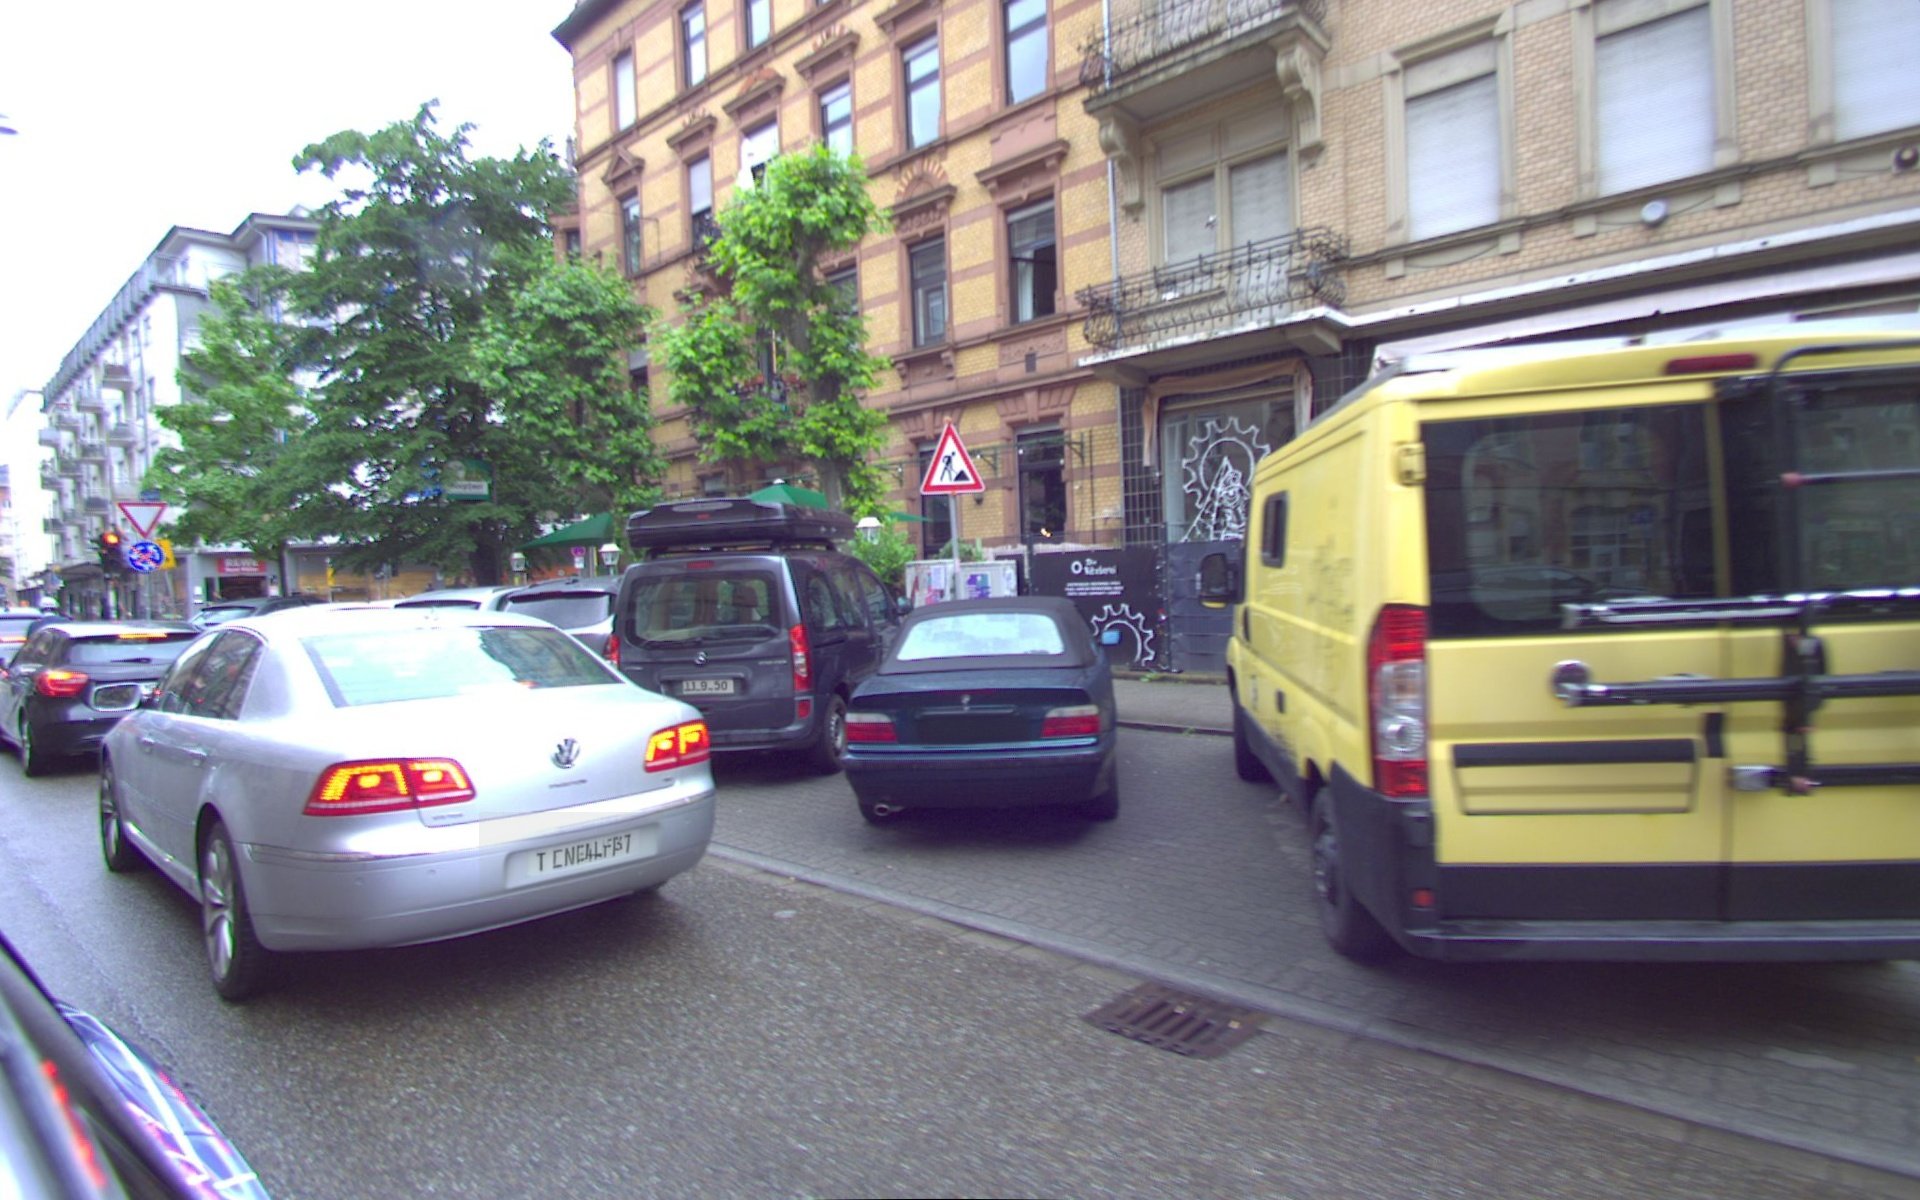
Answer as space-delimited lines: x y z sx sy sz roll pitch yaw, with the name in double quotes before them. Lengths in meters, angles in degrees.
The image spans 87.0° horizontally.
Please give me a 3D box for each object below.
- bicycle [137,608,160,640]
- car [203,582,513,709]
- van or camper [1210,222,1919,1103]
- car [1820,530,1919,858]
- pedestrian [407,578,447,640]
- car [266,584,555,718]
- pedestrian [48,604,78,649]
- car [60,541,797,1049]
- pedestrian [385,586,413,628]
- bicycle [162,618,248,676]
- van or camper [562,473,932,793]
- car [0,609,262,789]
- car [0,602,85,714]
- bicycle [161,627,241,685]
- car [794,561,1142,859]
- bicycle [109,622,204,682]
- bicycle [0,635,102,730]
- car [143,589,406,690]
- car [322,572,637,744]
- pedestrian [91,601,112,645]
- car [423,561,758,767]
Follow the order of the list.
"bicycle" -37.381 1.107 46.599 2.024 1.383 0.444 -2 4 44
"car" -9.929 0.644 17.267 1.977 1.574 4.716 -4 3 8
"van or camper" 2.617 0.067 4.976 2.160 2.284 4.715 -4 3 9
"car" 5.101 0.443 3.176 1.942 1.506 3.906 -2 1 11
"pedestrian" -17.953 0.296 34.095 0.929 2.028 0.866 -3 1 -13
"car" -8.075 0.651 15.393 1.779 1.504 4.132 -2 4 6
"pedestrian" -38.423 1.111 43.355 0.850 1.862 0.770 -3 1 -40
"car" -3.029 0.635 5.185 4.581 1.505 1.777 -3 0 41
"pedestrian" -22.717 0.266 40.994 0.786 1.627 0.606 -3 2 -13
"bicycle" -16.159 1.008 21.661 1.861 1.194 0.397 -2 2 17
"van or camper" -1.604 0.123 9.280 1.915 2.255 4.074 -1 4 9
"car" -9.135 0.882 10.807 4.136 1.505 1.777 -1 1 41
"car" -16.391 0.949 17.083 5.007 1.672 1.839 -2 0 42
"bicycle" -15.900 1.175 21.193 1.667 1.152 0.397 -2 2 17
"car" 0.336 0.600 7.254 1.807 1.506 3.988 -2 -1 10
"bicycle" -16.484 1.069 20.764 1.666 1.152 0.585 -2 2 14
"bicycle" -12.680 1.110 14.077 2.268 1.189 0.762 -3 -1 40
"car" -13.542 0.690 20.391 1.975 1.575 4.452 -1 3 5
"car" -5.962 0.593 13.222 1.779 1.674 4.133 -2 4 5
"pedestrian" -36.802 0.986 43.380 0.595 1.862 0.771 -3 1 -40
"car" -3.693 0.499 11.019 1.779 1.674 4.133 -2 4 5
